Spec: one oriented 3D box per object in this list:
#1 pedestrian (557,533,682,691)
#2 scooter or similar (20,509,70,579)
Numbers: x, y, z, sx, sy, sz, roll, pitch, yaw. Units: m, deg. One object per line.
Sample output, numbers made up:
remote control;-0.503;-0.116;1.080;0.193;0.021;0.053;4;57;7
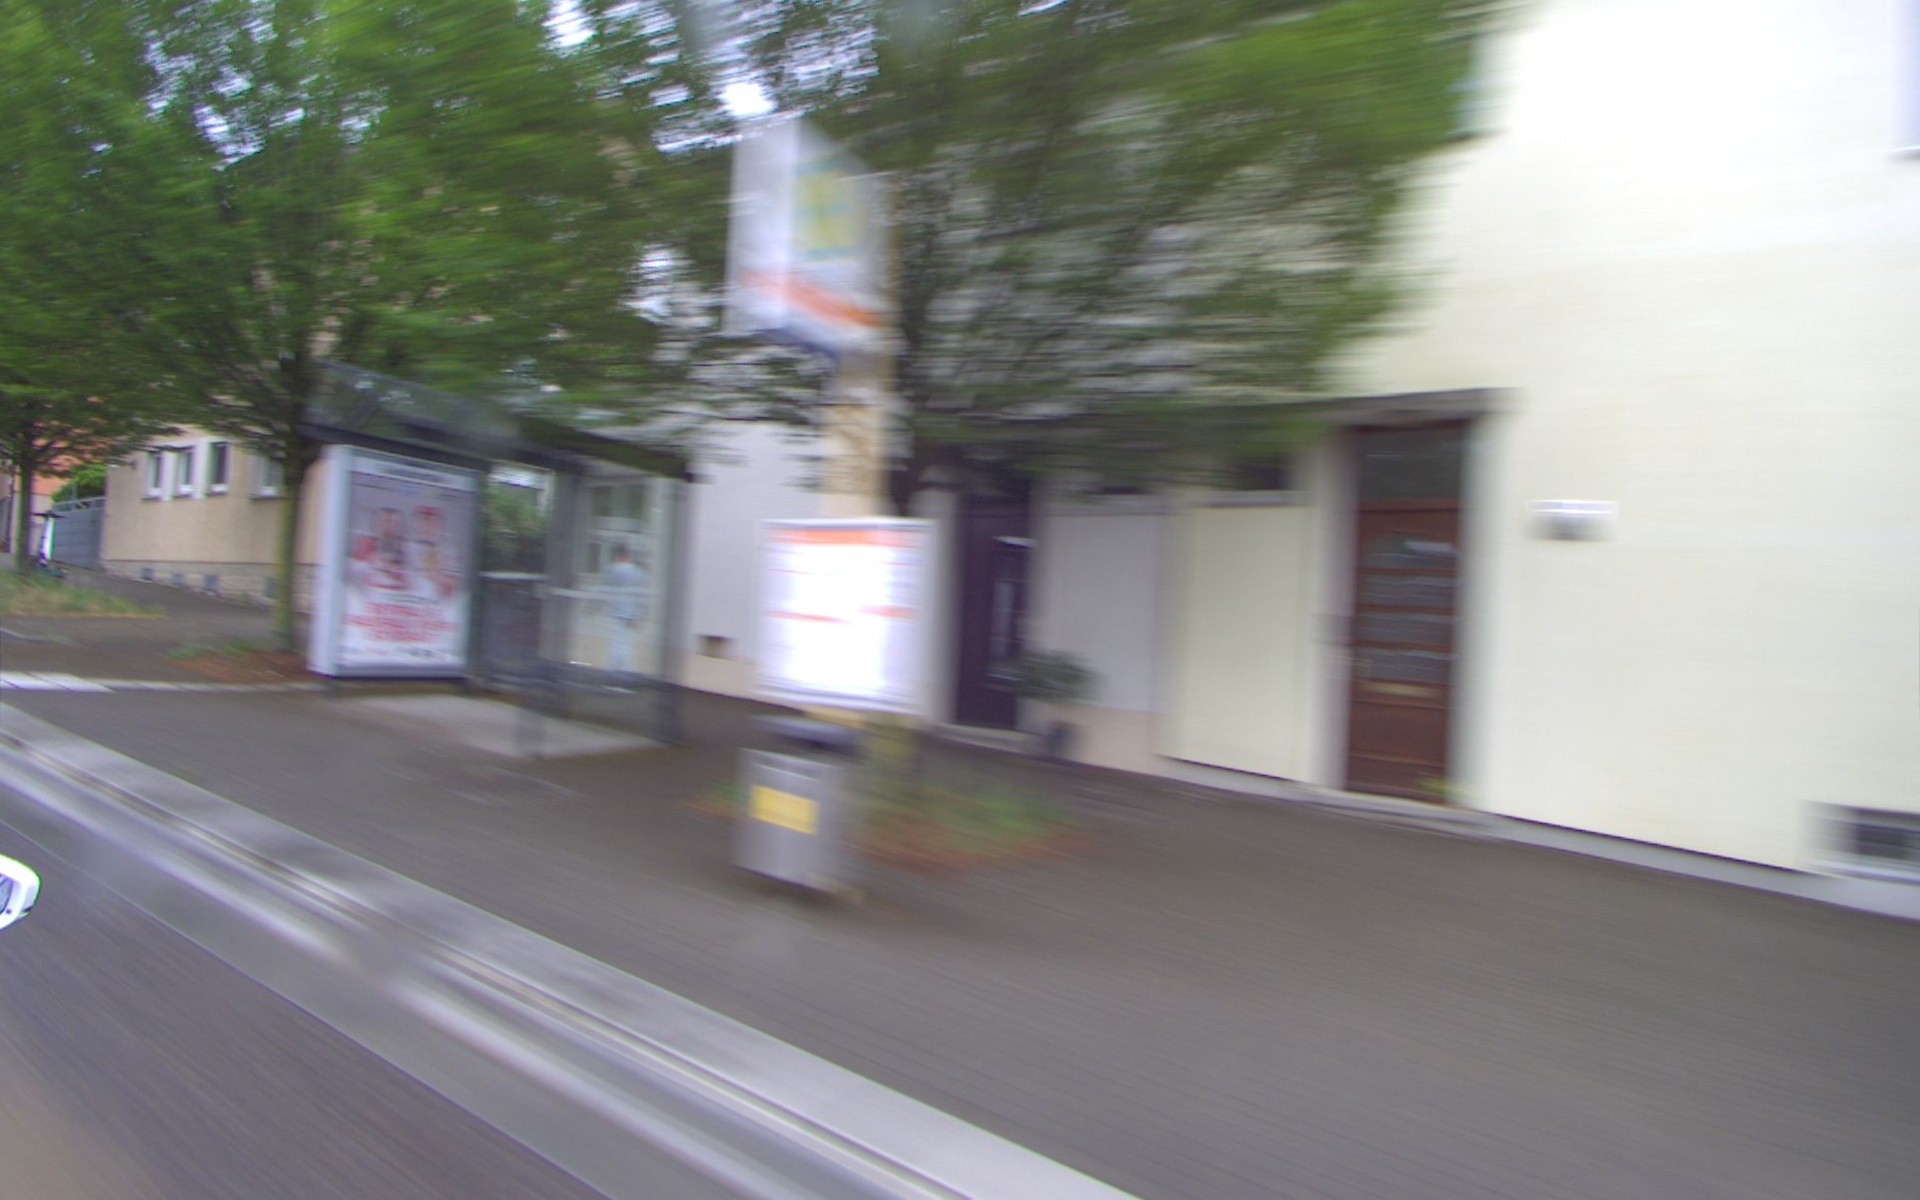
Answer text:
pedestrian;-3.999;0.128;11.818;1.028;1.709;0.832;7;3;33
scooter or similar;-18.028;-1.102;19.819;1.157;1.260;0.413;7;1;35
